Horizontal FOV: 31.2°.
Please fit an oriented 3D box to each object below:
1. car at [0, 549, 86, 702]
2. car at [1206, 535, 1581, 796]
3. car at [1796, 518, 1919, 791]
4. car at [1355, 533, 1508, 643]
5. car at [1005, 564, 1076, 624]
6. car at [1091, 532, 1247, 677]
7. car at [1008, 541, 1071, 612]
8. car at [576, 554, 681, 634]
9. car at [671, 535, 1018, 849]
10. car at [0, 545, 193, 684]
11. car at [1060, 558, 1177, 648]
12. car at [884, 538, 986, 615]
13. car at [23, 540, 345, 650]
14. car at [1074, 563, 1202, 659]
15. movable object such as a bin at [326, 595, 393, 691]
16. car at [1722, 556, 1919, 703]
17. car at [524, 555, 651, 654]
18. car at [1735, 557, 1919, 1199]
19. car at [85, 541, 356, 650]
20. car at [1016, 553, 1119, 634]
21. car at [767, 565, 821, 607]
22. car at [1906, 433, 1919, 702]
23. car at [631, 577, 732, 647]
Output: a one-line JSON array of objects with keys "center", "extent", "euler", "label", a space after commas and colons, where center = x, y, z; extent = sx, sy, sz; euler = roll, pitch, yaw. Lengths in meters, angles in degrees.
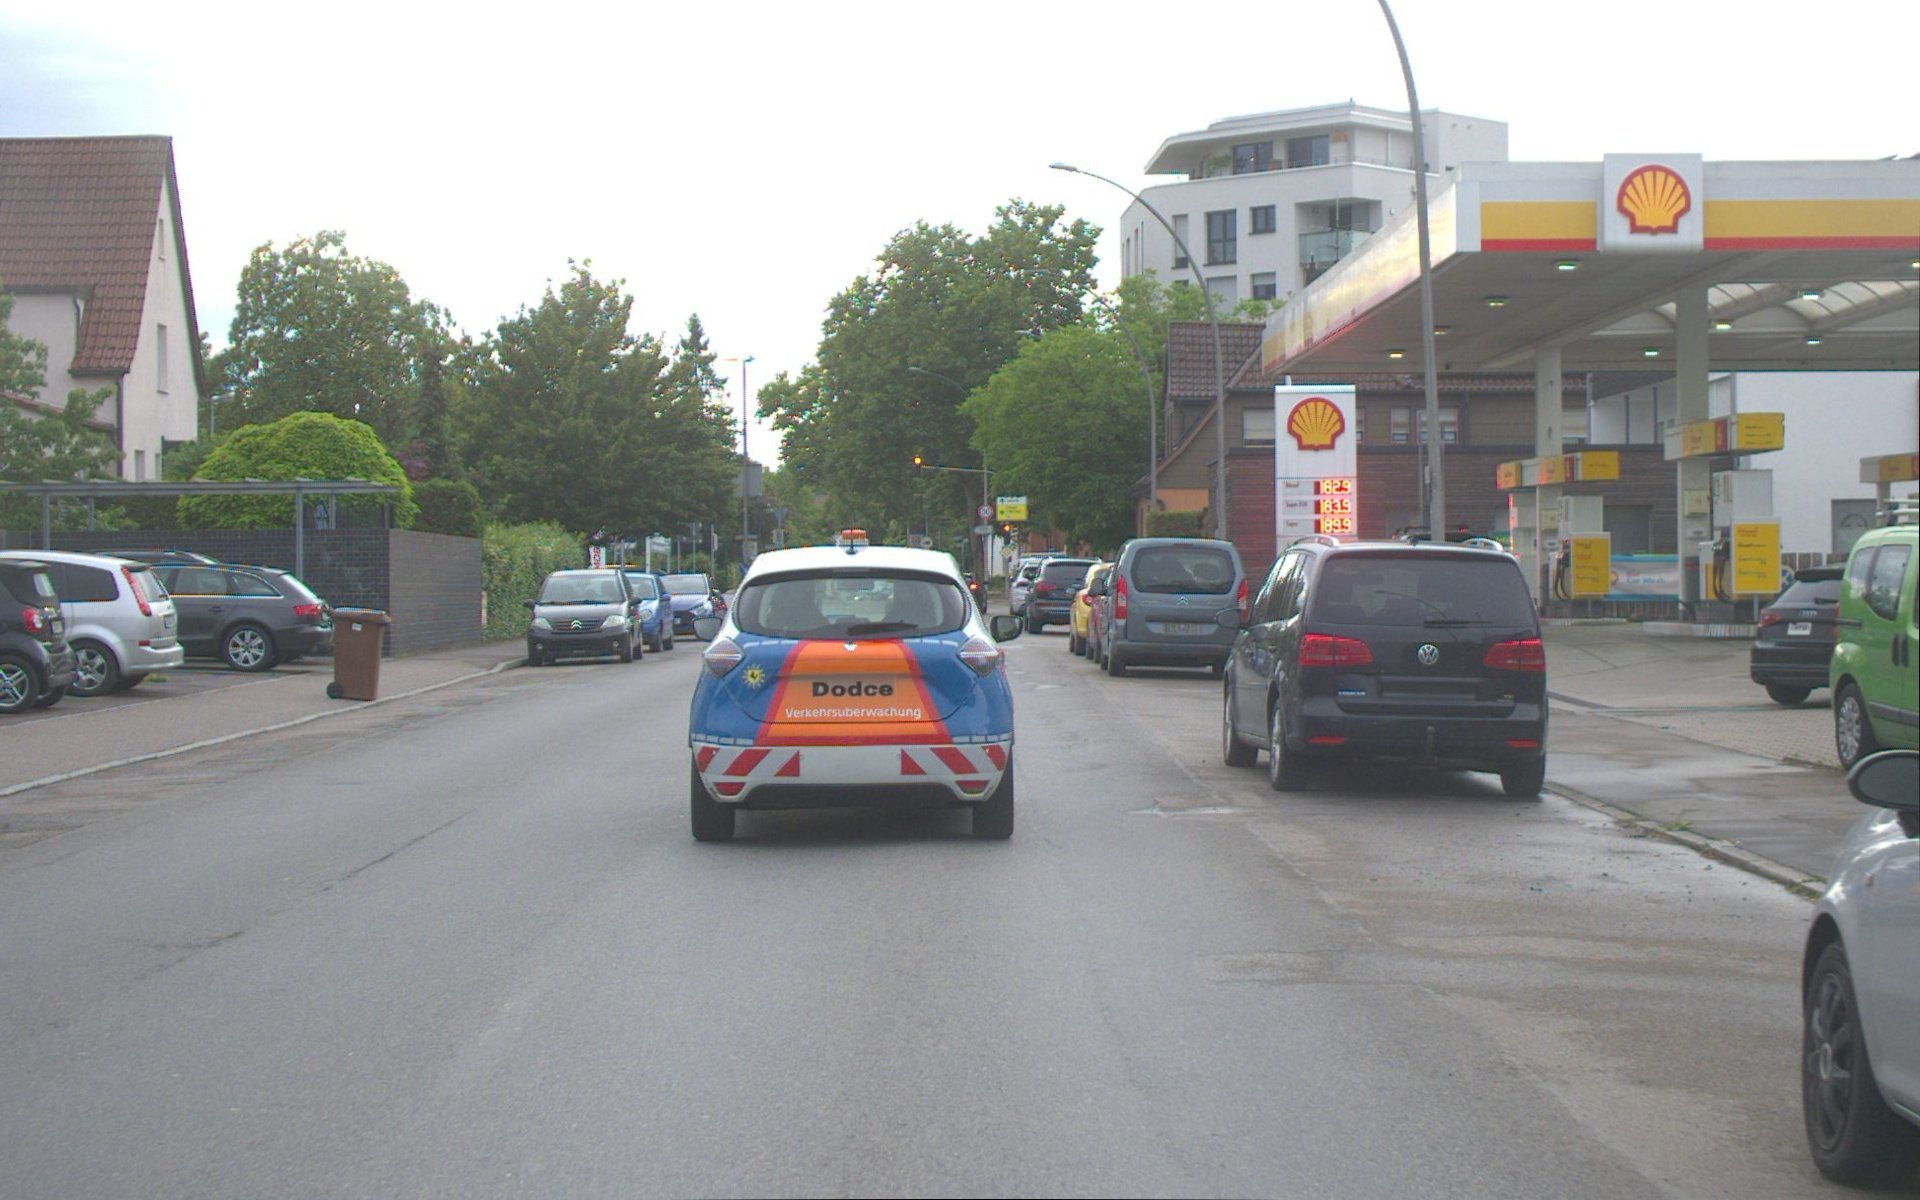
[{"center": [-10.993, 0.249, 34.515], "extent": [4.083, 1.498, 1.757], "euler": [0, 1, -6], "label": "car"}, {"center": [2.820, 0.369, 23.215], "extent": [1.993, 1.590, 4.000], "euler": [-1, 1, 0], "label": "car"}, {"center": [6.865, 0.324, 21.579], "extent": [1.993, 1.677, 4.001], "euler": [0, 1, -5], "label": "car"}, {"center": [7.845, -0.216, 57.531], "extent": [1.819, 1.753, 4.000], "euler": [-1, 1, -3], "label": "car"}, {"center": [2.270, -0.173, 97.959], "extent": [1.865, 1.659, 4.320], "euler": [0, 0, -1], "label": "car"}, {"center": [2.689, 0.035, 44.967], "extent": [1.656, 1.732, 4.445], "euler": [2, 1, -1], "label": "car"}, {"center": [2.435, -0.733, 104.005], "extent": [1.778, 2.022, 4.753], "euler": [1, 1, 2], "label": "car"}, {"center": [-6.085, -0.122, 63.388], "extent": [1.546, 1.398, 3.597], "euler": [-2, 1, 0], "label": "car"}, {"center": [-0.599, 0.432, 19.460], "extent": [1.746, 1.575, 4.000], "euler": [-1, 1, 0], "label": "car"}, {"center": [-10.756, 0.148, 38.349], "extent": [4.083, 1.508, 1.884], "euler": [0, 1, -6], "label": "car"}, {"center": [2.516, 0.024, 55.224], "extent": [1.656, 1.397, 3.802], "euler": [0, 1, -1], "label": "car"}, {"center": [-0.516, -0.535, 75.016], "extent": [1.994, 1.568, 4.000], "euler": [1, 1, 2], "label": "car"}, {"center": [-10.453, -0.075, 46.557], "extent": [4.083, 1.409, 1.714], "euler": [1, 1, -7], "label": "car"}, {"center": [2.614, 0.133, 51.163], "extent": [1.656, 1.372, 4.025], "euler": [0, 1, -1], "label": "car"}, {"center": [-7.074, 0.502, 40.548], "extent": [0.595, 1.053, 0.687], "euler": [5, 2, 0], "label": "movable object such as a bin"}, {"center": [9.453, 0.251, 34.427], "extent": [1.779, 1.370, 3.990], "euler": [1, 1, 43], "label": "car"}, {"center": [-5.969, 0.049, 55.371], "extent": [1.608, 1.501, 3.707], "euler": [-2, 1, 0], "label": "car"}, {"center": [2.839, 0.698, 6.877], "extent": [1.737, 1.497, 3.881], "euler": [2, 1, 1], "label": "car"}, {"center": [-10.596, -0.065, 49.470], "extent": [3.584, 1.452, 1.757], "euler": [1, 0, -5], "label": "car"}, {"center": [2.366, -0.171, 76.670], "extent": [2.091, 1.656, 4.559], "euler": [1, 1, 0], "label": "car"}, {"center": [-5.780, -0.497, 120.054], "extent": [1.626, 1.428, 3.683], "euler": [0, 0, 2], "label": "car"}, {"center": [11.537, -0.312, 32.174], "extent": [4.787, 2.512, 2.248], "euler": [-1, 1, -22], "label": "car"}, {"center": [-5.945, 0.231, 73.789], "extent": [1.807, 1.398, 3.945], "euler": [-2, 1, 0], "label": "car"}]
